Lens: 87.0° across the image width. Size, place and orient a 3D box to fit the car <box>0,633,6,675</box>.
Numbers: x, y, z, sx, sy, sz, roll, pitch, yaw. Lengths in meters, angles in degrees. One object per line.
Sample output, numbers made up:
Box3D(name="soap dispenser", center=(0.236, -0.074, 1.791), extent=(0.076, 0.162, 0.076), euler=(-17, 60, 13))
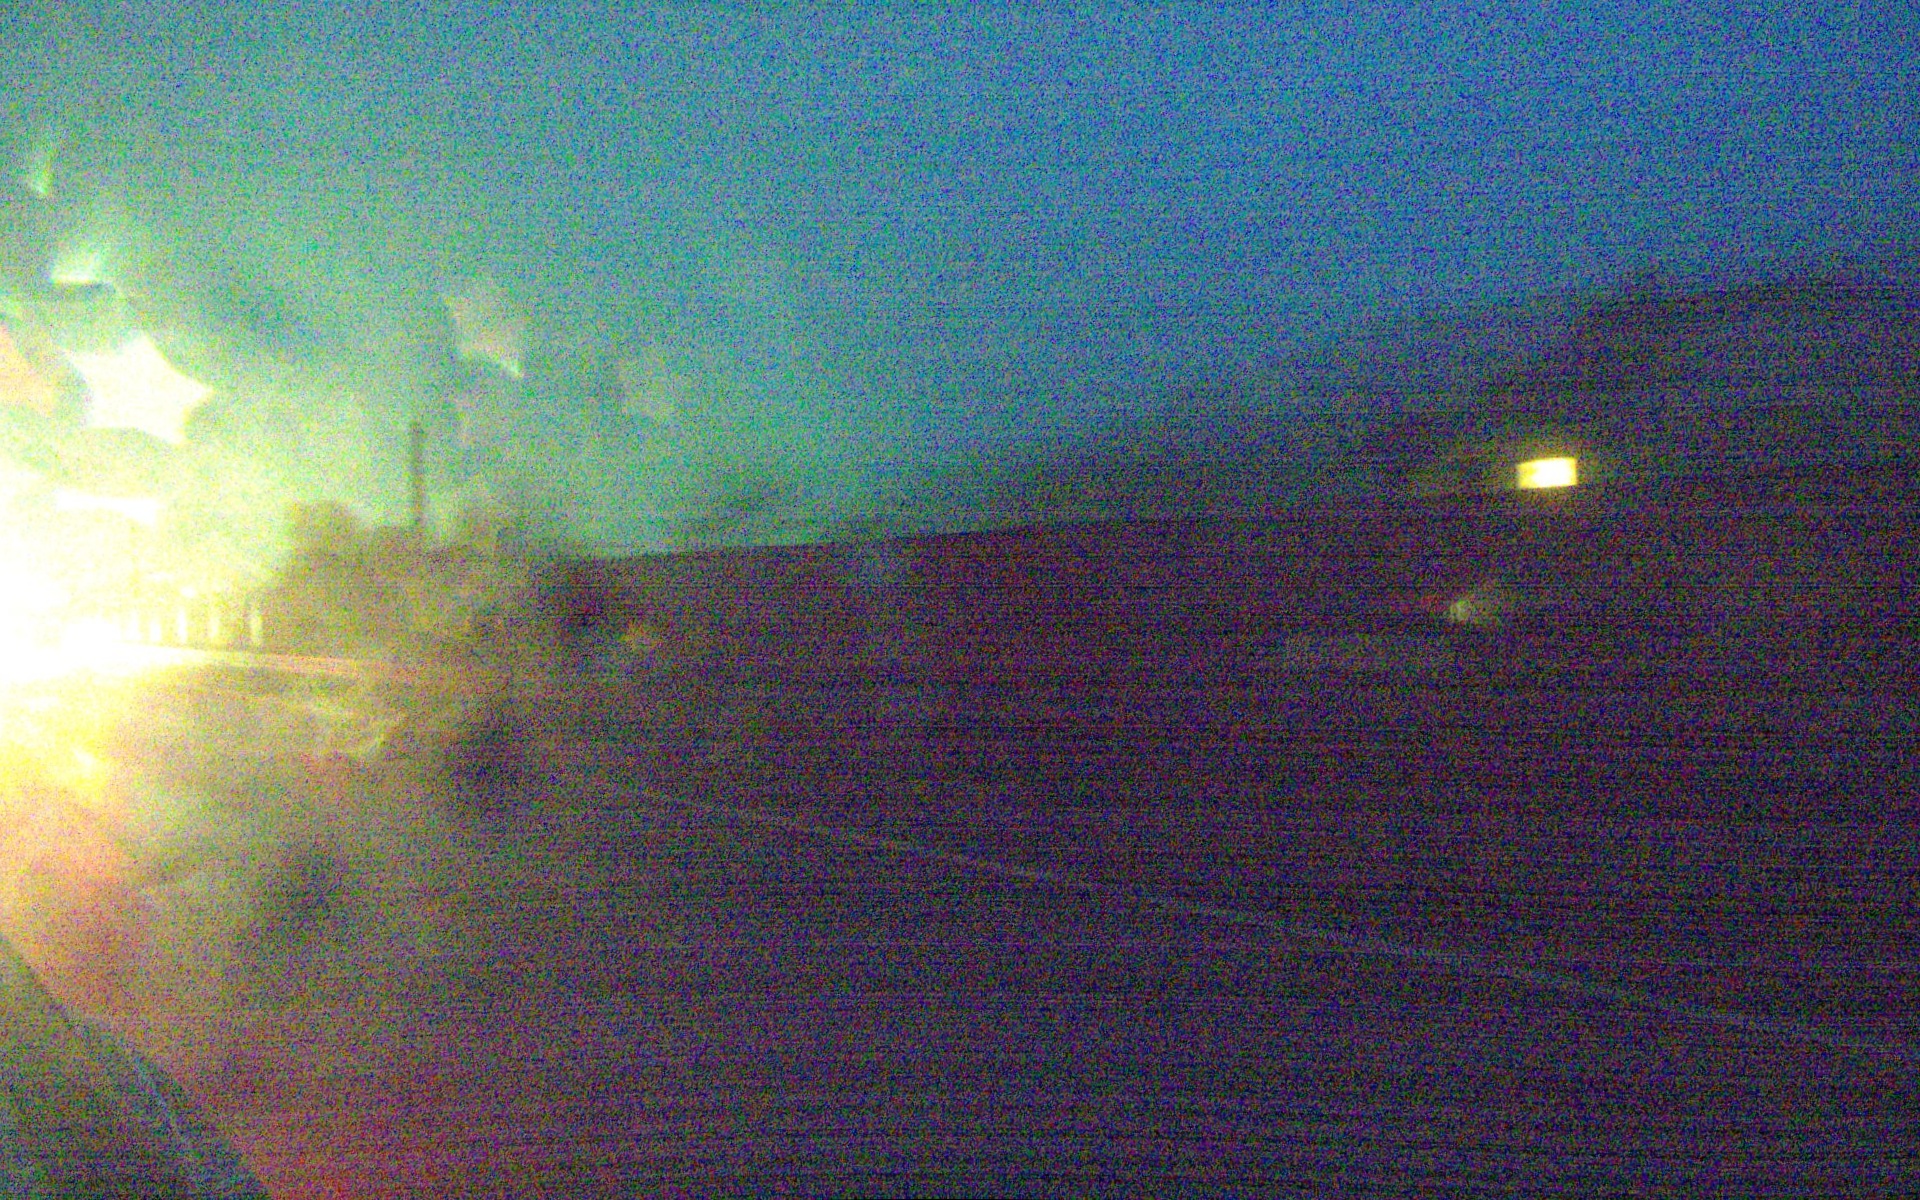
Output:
Box3D(name="car", center=(-38.710, 2.142, 39.615), extent=(1.904, 1.587, 4.349), euler=(0, -2, -45))

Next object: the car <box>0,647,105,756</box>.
Box3D(name="car", center=(-19.536, 2.038, 21.297), extent=(4.001, 2.029, 1.971), euler=(-3, -2, 44))
